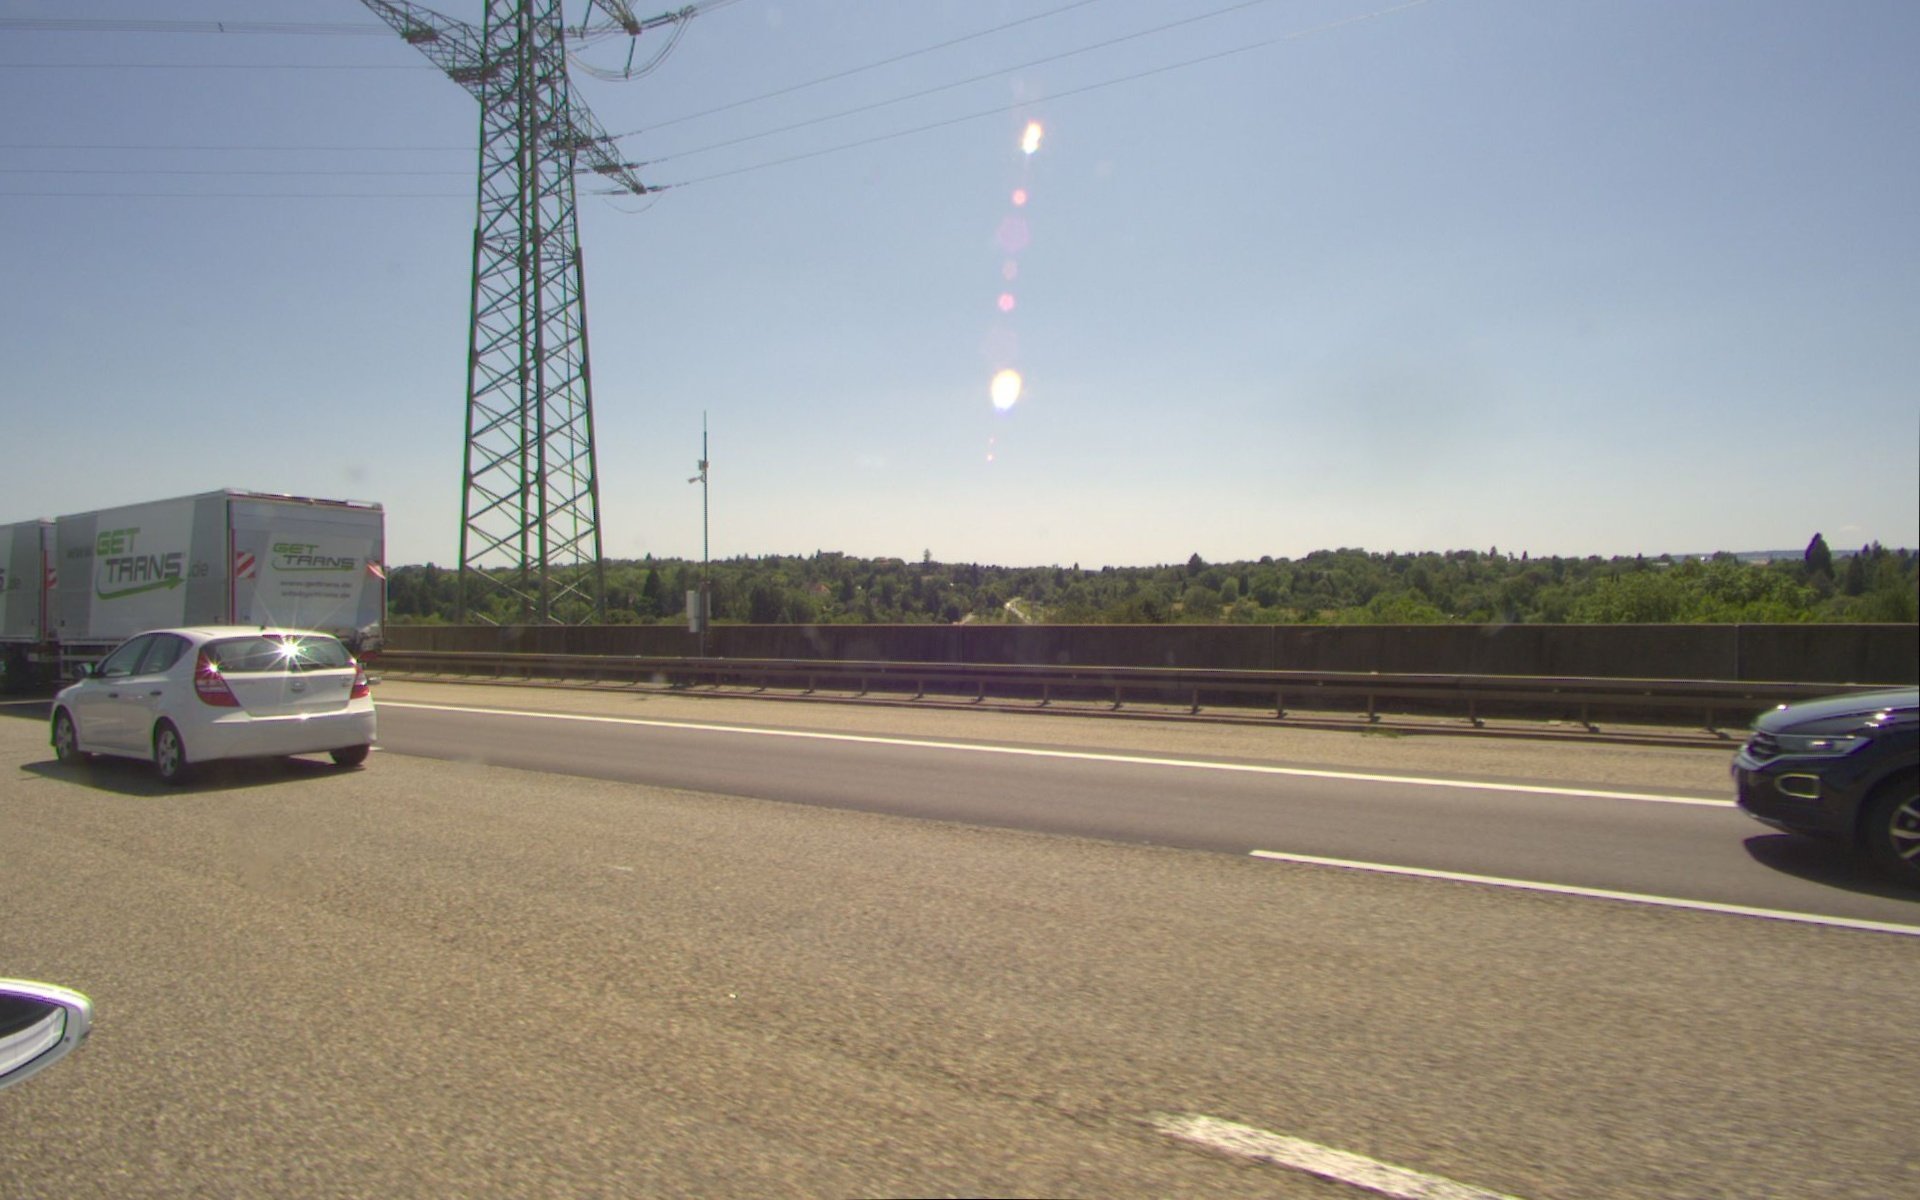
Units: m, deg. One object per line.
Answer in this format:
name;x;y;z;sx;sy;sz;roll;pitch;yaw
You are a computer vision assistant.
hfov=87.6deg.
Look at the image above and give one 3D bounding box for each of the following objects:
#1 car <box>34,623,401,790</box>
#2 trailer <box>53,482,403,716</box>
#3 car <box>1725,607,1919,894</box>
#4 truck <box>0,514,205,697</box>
car;-8.087;0.991;10.816;4.231;1.474;1.785;-1;-1;32
trailer;-14.282;0.041;19.320;7.898;3.748;2.693;-1;-1;32
car;6.785;0.817;5.401;4.047;1.546;1.733;-1;-2;32
truck;-22.278;0.188;24.247;10.850;3.695;2.652;-1;-1;32
